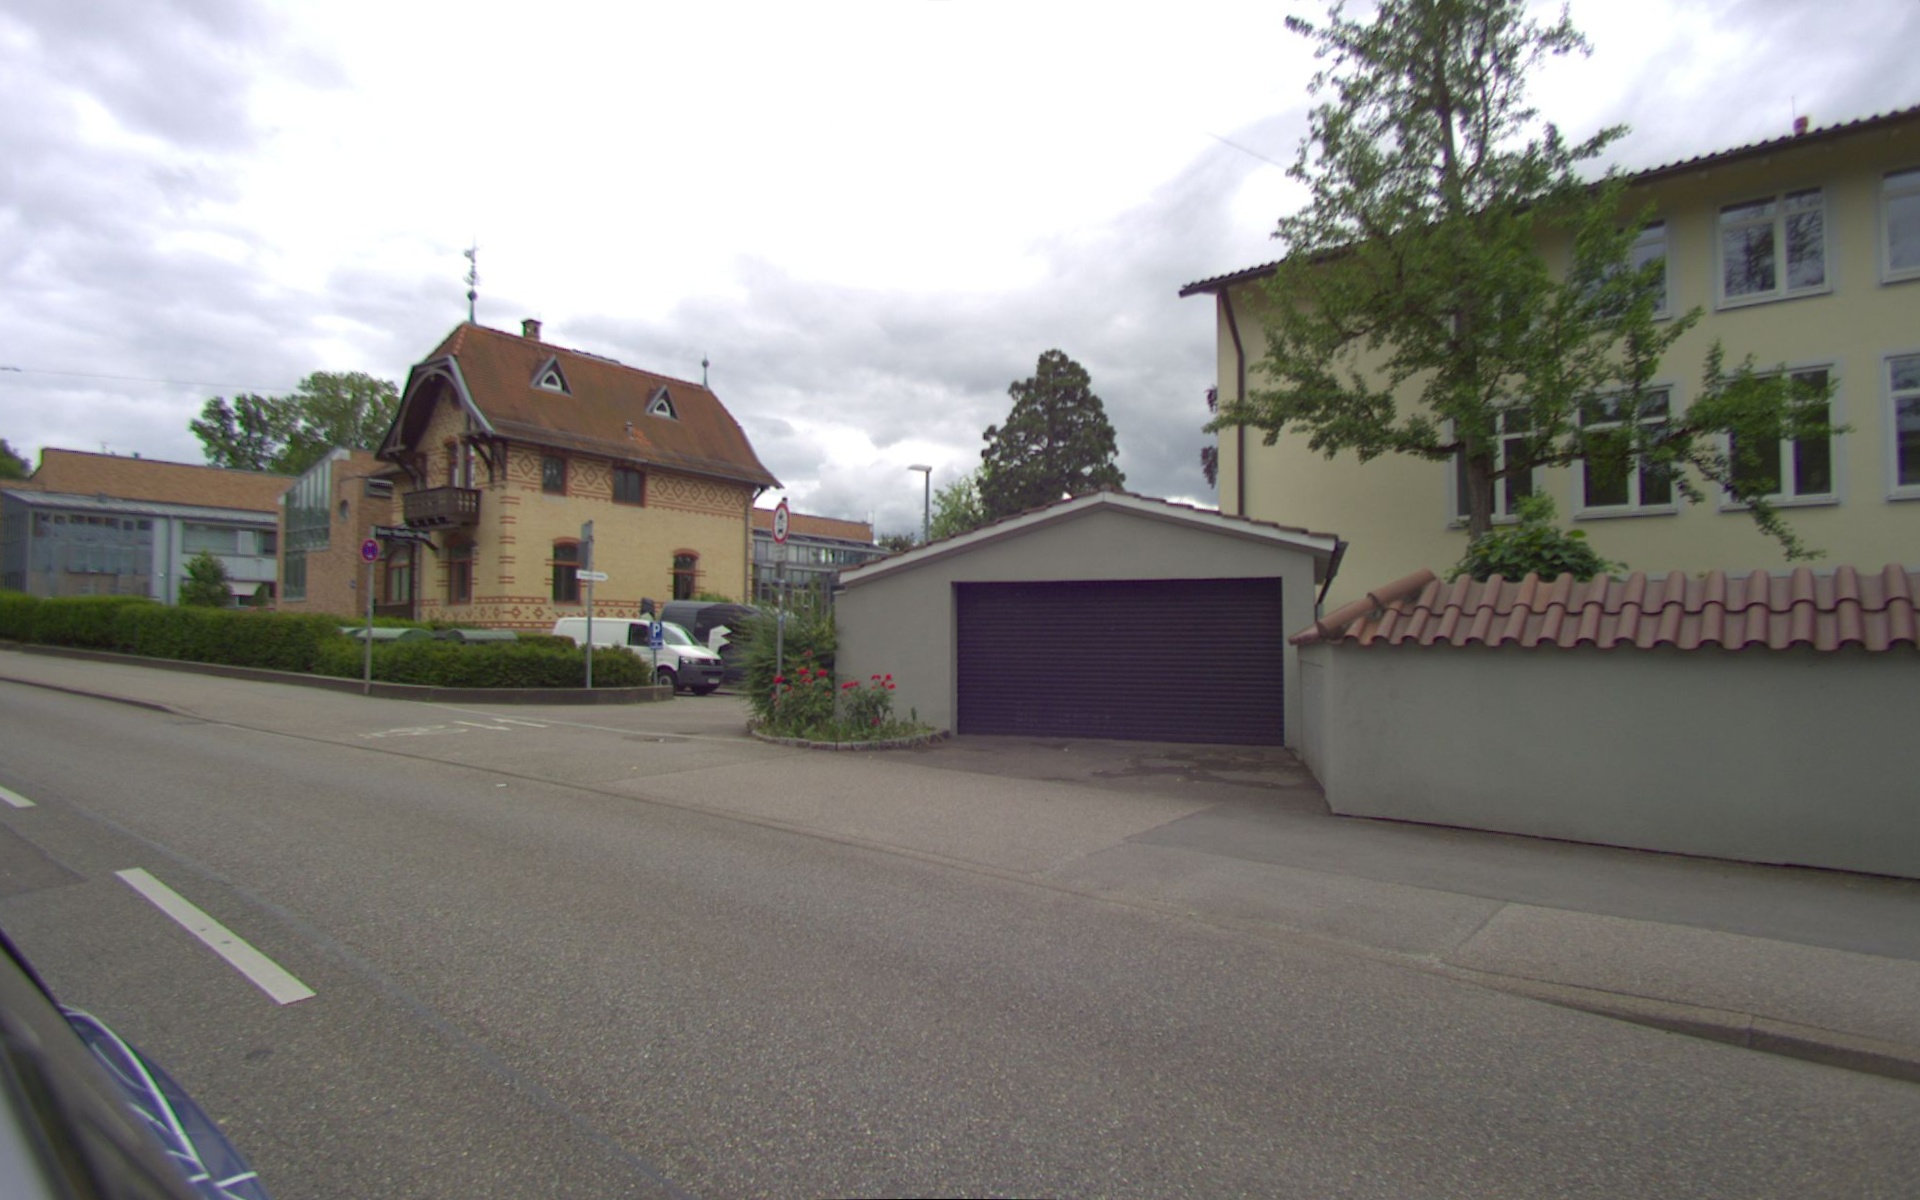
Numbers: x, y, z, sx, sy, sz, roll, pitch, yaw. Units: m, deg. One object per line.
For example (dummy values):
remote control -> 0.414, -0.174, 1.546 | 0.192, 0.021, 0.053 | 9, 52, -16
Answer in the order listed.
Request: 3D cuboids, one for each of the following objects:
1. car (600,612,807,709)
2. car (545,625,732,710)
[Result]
car -> -7.465, 1.720, 29.485 | 5.679, 2.639, 1.986 | 0, -3, 21
car -> -8.493, 1.741, 26.716 | 4.588, 2.086, 1.879 | 0, -3, 24
